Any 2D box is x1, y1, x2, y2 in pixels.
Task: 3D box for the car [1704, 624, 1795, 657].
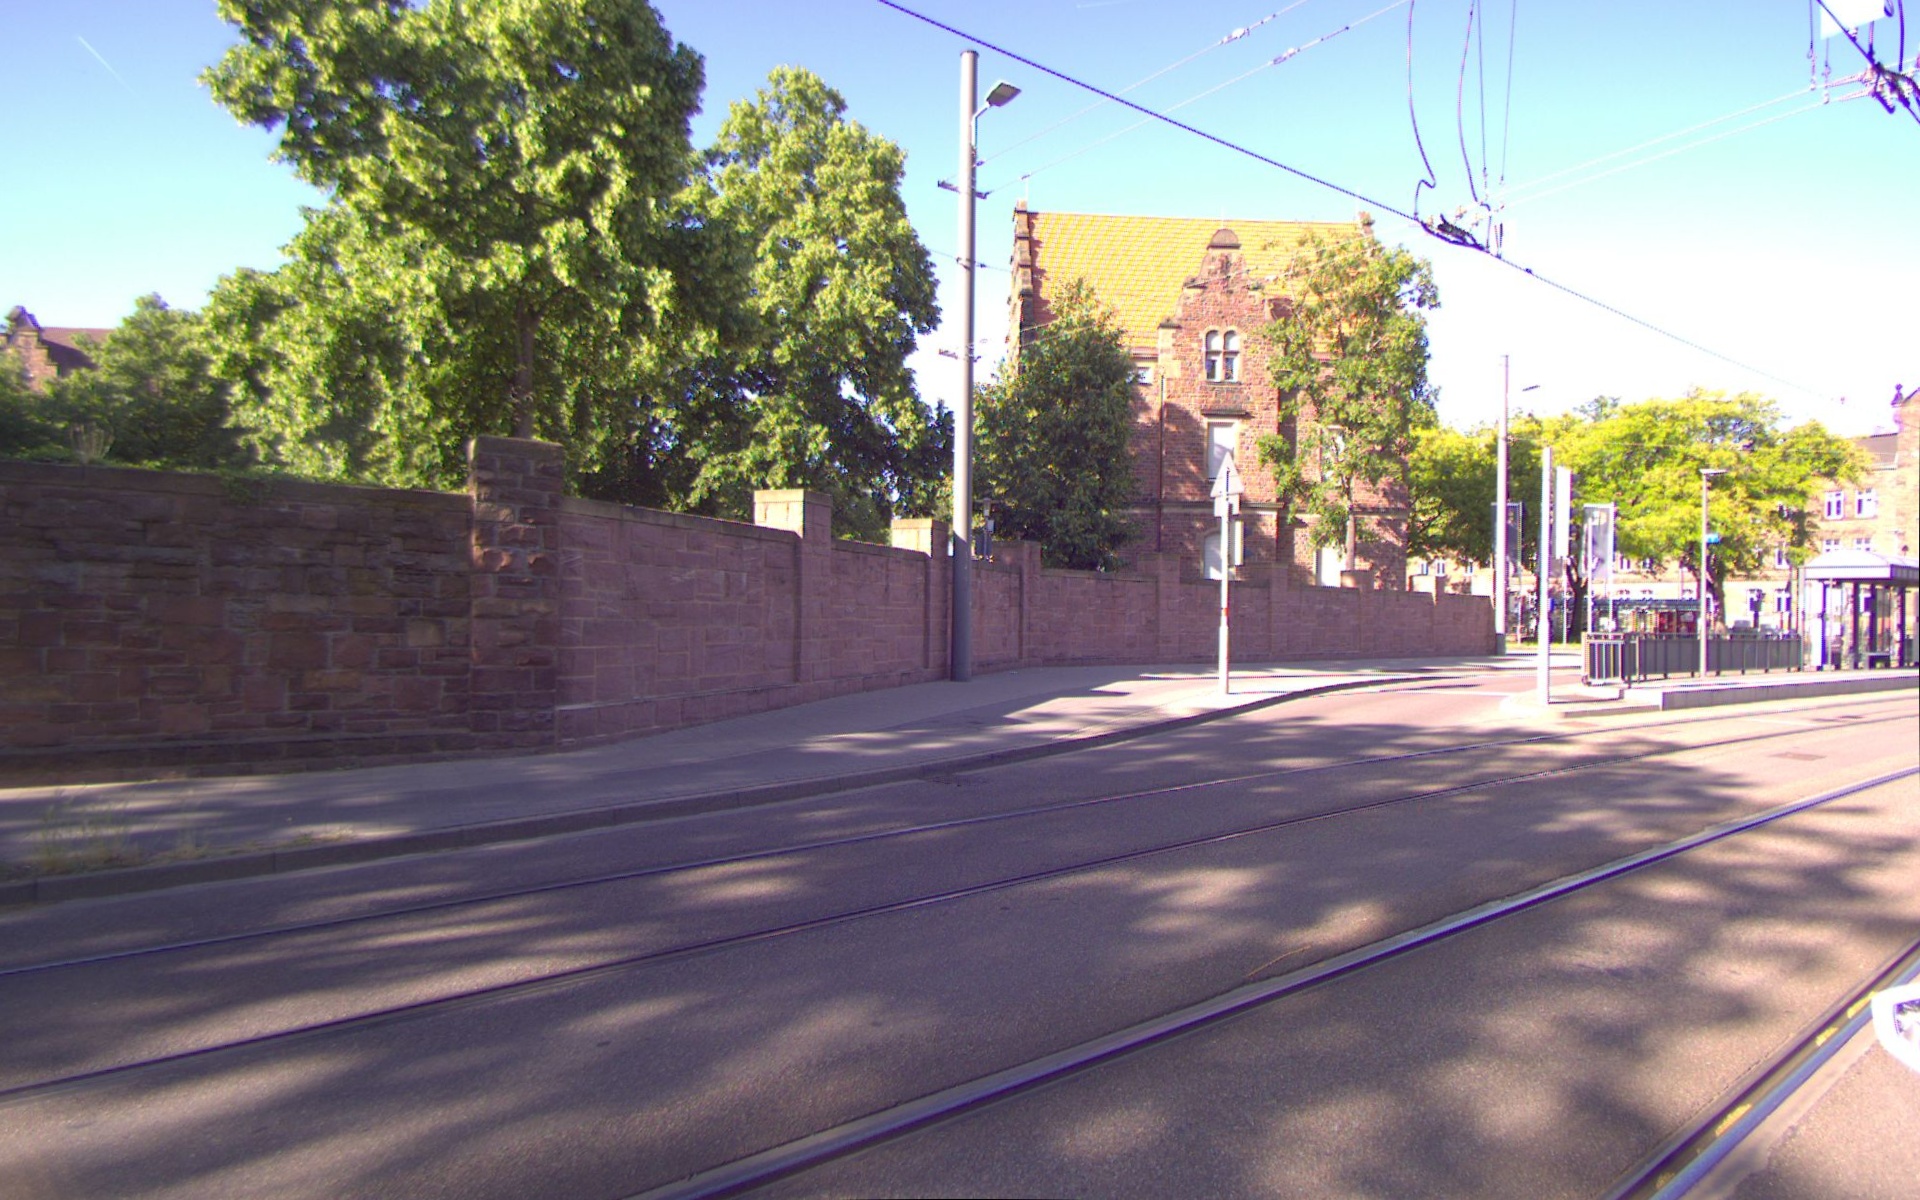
[{"bbox_3d":[47.467,2.396,60.437,1.981,1.813,3.959,0,0,-36],"label":"car"}]
